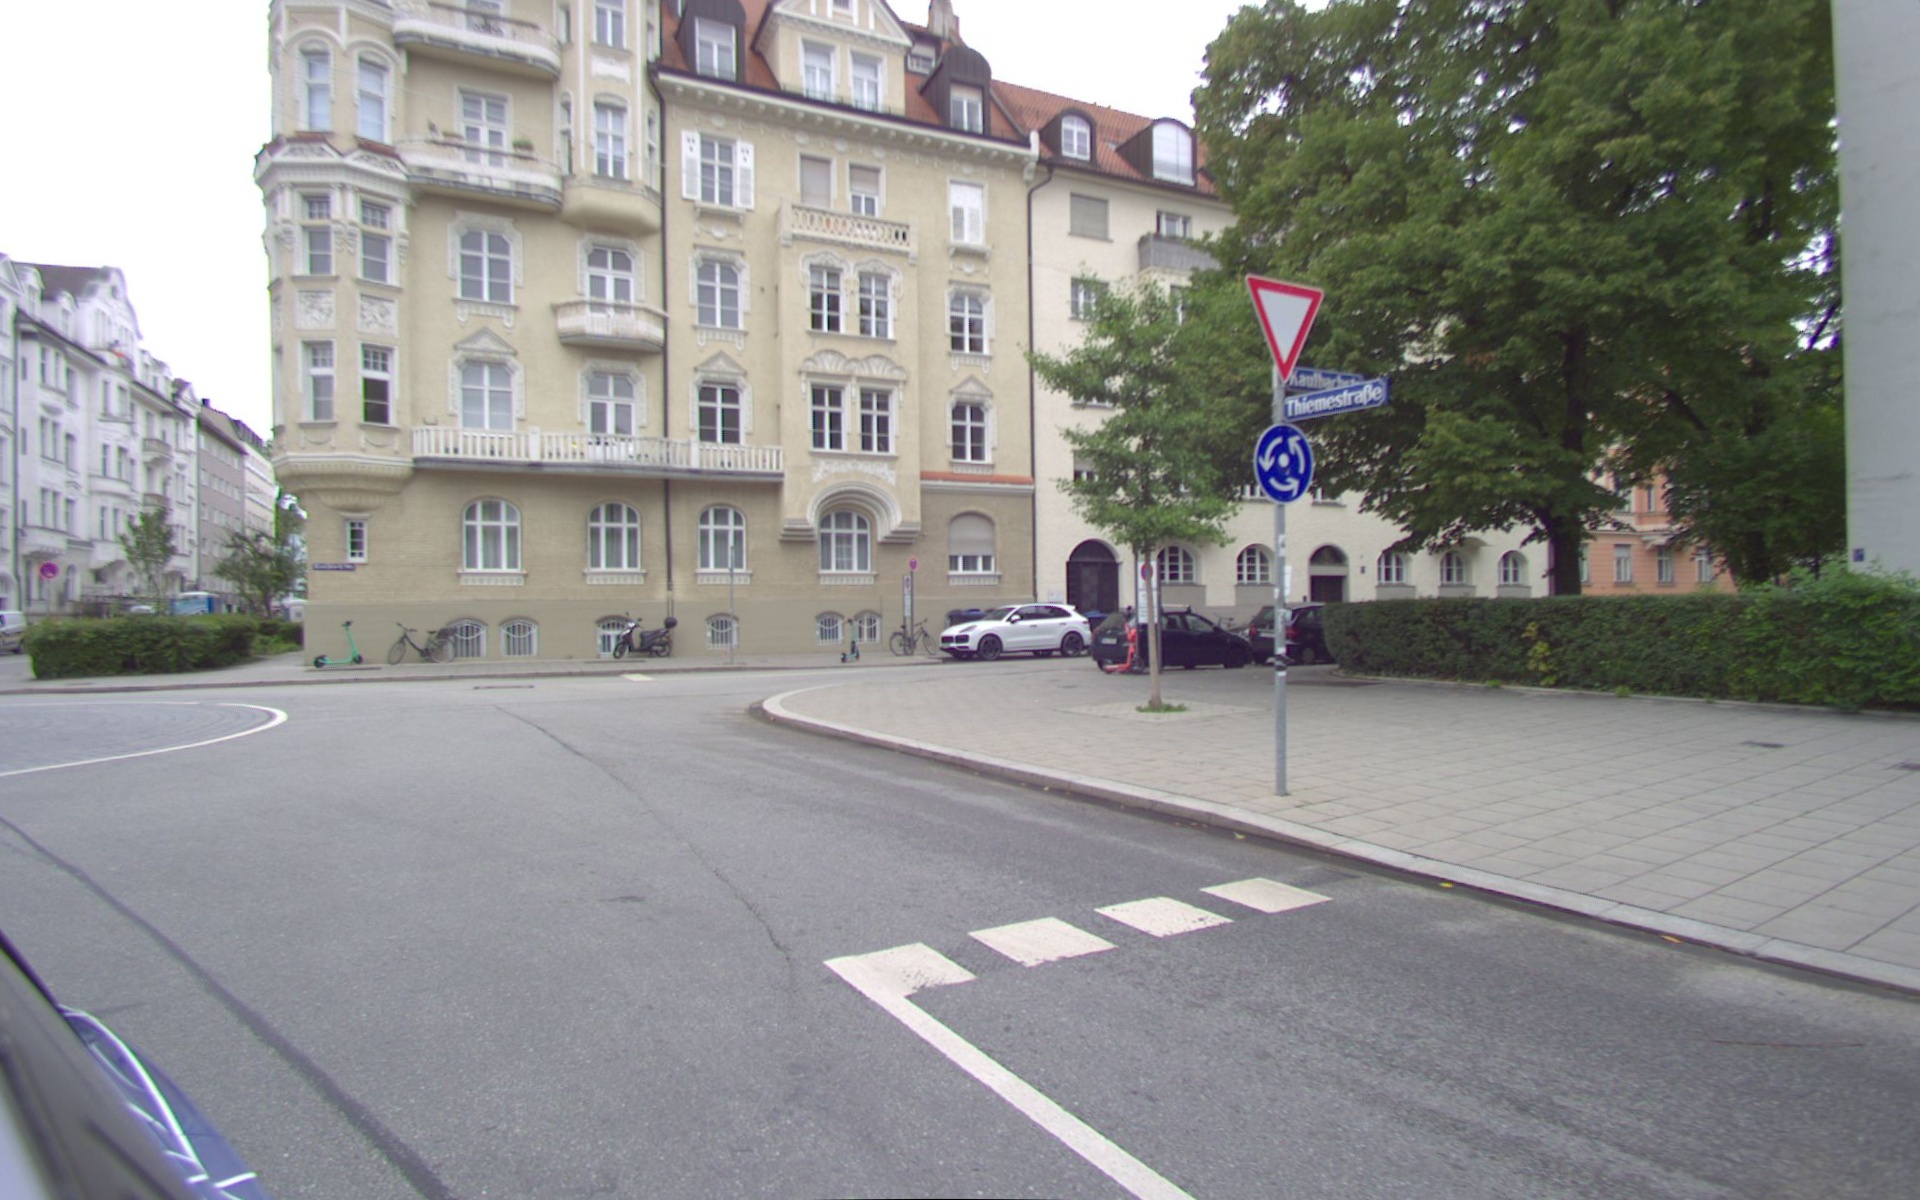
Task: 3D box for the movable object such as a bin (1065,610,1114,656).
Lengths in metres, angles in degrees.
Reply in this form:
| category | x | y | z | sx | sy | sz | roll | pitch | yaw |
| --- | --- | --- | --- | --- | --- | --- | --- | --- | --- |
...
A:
| category | x | y | z | sx | sy | sz | roll | pitch | yaw |
| --- | --- | --- | --- | --- | --- | --- | --- | --- | --- |
| movable object such as a bin | 4.176 | 1.061 | 32.725 | 1.153 | 1.436 | 1.098 | 0 | -1 | -24 |

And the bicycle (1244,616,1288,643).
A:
| category | x | y | z | sx | sy | sz | roll | pitch | yaw |
| --- | --- | --- | --- | --- | --- | --- | --- | --- | --- |
| bicycle | 12.402 | 1.200 | 41.055 | 1.799 | 1.057 | 0.566 | -1 | -1 | -27 |

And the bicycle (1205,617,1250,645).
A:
| category | x | y | z | sx | sy | sz | roll | pitch | yaw |
| --- | --- | --- | --- | --- | --- | --- | --- | --- | --- |
| bicycle | 10.628 | 1.239 | 40.163 | 1.799 | 1.057 | 0.566 | -1 | -1 | -27 |

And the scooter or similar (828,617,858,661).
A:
| category | x | y | z | sx | sy | sz | roll | pitch | yaw |
| --- | --- | --- | --- | --- | --- | --- | --- | --- | --- |
| scooter or similar | -3.336 | 1.099 | 28.947 | 0.463 | 1.202 | 1.210 | -1 | 0 | 13 |

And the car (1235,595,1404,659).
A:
| category | x | y | z | sx | sy | sz | roll | pitch | yaw |
| --- | --- | --- | --- | --- | --- | --- | --- | --- | --- |
| car | 9.256 | 0.679 | 25.977 | 4.162 | 1.516 | 1.804 | 0 | -2 | -31 |

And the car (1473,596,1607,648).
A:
| category | x | y | z | sx | sy | sz | roll | pitch | yaw |
| --- | --- | --- | --- | --- | --- | --- | --- | --- | --- |
| car | 17.960 | 0.671 | 31.326 | 4.045 | 1.516 | 1.804 | 0 | -2 | -31 |

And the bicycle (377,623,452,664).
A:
| category | x | y | z | sx | sy | sz | roll | pitch | yaw |
| --- | --- | --- | --- | --- | --- | --- | --- | --- | --- |
| bicycle | -14.925 | 1.189 | 27.734 | 1.799 | 1.057 | 0.566 | -1 | -1 | -27 |

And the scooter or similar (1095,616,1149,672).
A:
| category | x | y | z | sx | sy | sz | roll | pitch | yaw |
| --- | --- | --- | --- | --- | --- | --- | --- | --- | --- |
| scooter or similar | 3.252 | 0.870 | 20.340 | 1.000 | 1.097 | 0.386 | -1 | -1 | 37 |

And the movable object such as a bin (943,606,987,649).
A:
| category | x | y | z | sx | sy | sz | roll | pitch | yaw |
| --- | --- | --- | --- | --- | --- | --- | --- | --- | --- |
| movable object such as a bin | 0.163 | 0.923 | 34.475 | 1.153 | 1.436 | 1.098 | 0 | -1 | -24 |

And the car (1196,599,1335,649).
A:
| category | x | y | z | sx | sy | sz | roll | pitch | yaw |
| --- | --- | --- | --- | --- | --- | --- | --- | --- | --- |
| car | 10.724 | 0.807 | 35.471 | 4.632 | 1.628 | 1.988 | -1 | 0 | -29 |

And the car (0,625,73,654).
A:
| category | x | y | z | sx | sy | sz | roll | pitch | yaw |
| --- | --- | --- | --- | --- | --- | --- | --- | --- | --- |
| car | -45.256 | 1.902 | 49.642 | 1.668 | 1.356 | 3.550 | 0 | -1 | -24 |

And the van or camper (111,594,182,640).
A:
| category | x | y | z | sx | sy | sz | roll | pitch | yaw |
| --- | --- | --- | --- | --- | --- | --- | --- | --- | --- |
| van or camper | -53.763 | 1.100 | 67.043 | 1.965 | 2.935 | 6.459 | 0 | 0 | -23 |

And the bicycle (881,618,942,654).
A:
| category | x | y | z | sx | sy | sz | roll | pitch | yaw |
| --- | --- | --- | --- | --- | --- | --- | --- | --- | --- |
| bicycle | -1.513 | 1.109 | 31.615 | 1.799 | 1.057 | 0.566 | -1 | -1 | -27 |

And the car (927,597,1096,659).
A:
| category | x | y | z | sx | sy | sz | roll | pitch | yaw |
| --- | --- | --- | --- | --- | --- | --- | --- | --- | --- |
| car | 1.591 | 0.800 | 30.764 | 4.757 | 1.713 | 1.988 | -1 | 0 | -27 |

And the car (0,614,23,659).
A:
| category | x | y | z | sx | sy | sz | roll | pitch | yaw |
| --- | --- | --- | --- | --- | --- | --- | --- | --- | --- |
| car | -43.307 | 1.614 | 44.225 | 2.088 | 2.009 | 4.838 | 0 | -1 | -25 |

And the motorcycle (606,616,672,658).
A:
| category | x | y | z | sx | sy | sz | roll | pitch | yaw |
| --- | --- | --- | --- | --- | --- | --- | --- | --- | --- |
| motorcycle | -9.571 | 1.085 | 30.176 | 1.799 | 1.185 | 0.602 | -1 | -1 | -27 |

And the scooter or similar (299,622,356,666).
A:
| category | x | y | z | sx | sy | sz | roll | pitch | yaw |
| --- | --- | --- | --- | --- | --- | --- | --- | --- | --- |
| scooter or similar | -16.630 | 1.147 | 26.633 | 0.466 | 1.124 | 1.202 | -1 | -1 | 31 |

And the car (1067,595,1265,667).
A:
| category | x | y | z | sx | sy | sz | roll | pitch | yaw |
| --- | --- | --- | --- | --- | --- | --- | --- | --- | --- |
| car | 4.788 | 0.691 | 23.367 | 4.347 | 1.516 | 1.830 | 0 | -2 | -31 |

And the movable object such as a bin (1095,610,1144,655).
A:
| category | x | y | z | sx | sy | sz | roll | pitch | yaw |
| --- | --- | --- | --- | --- | --- | --- | --- | --- | --- |
| movable object such as a bin | 5.239 | 1.064 | 33.214 | 1.153 | 1.436 | 1.098 | 0 | -1 | -24 |
